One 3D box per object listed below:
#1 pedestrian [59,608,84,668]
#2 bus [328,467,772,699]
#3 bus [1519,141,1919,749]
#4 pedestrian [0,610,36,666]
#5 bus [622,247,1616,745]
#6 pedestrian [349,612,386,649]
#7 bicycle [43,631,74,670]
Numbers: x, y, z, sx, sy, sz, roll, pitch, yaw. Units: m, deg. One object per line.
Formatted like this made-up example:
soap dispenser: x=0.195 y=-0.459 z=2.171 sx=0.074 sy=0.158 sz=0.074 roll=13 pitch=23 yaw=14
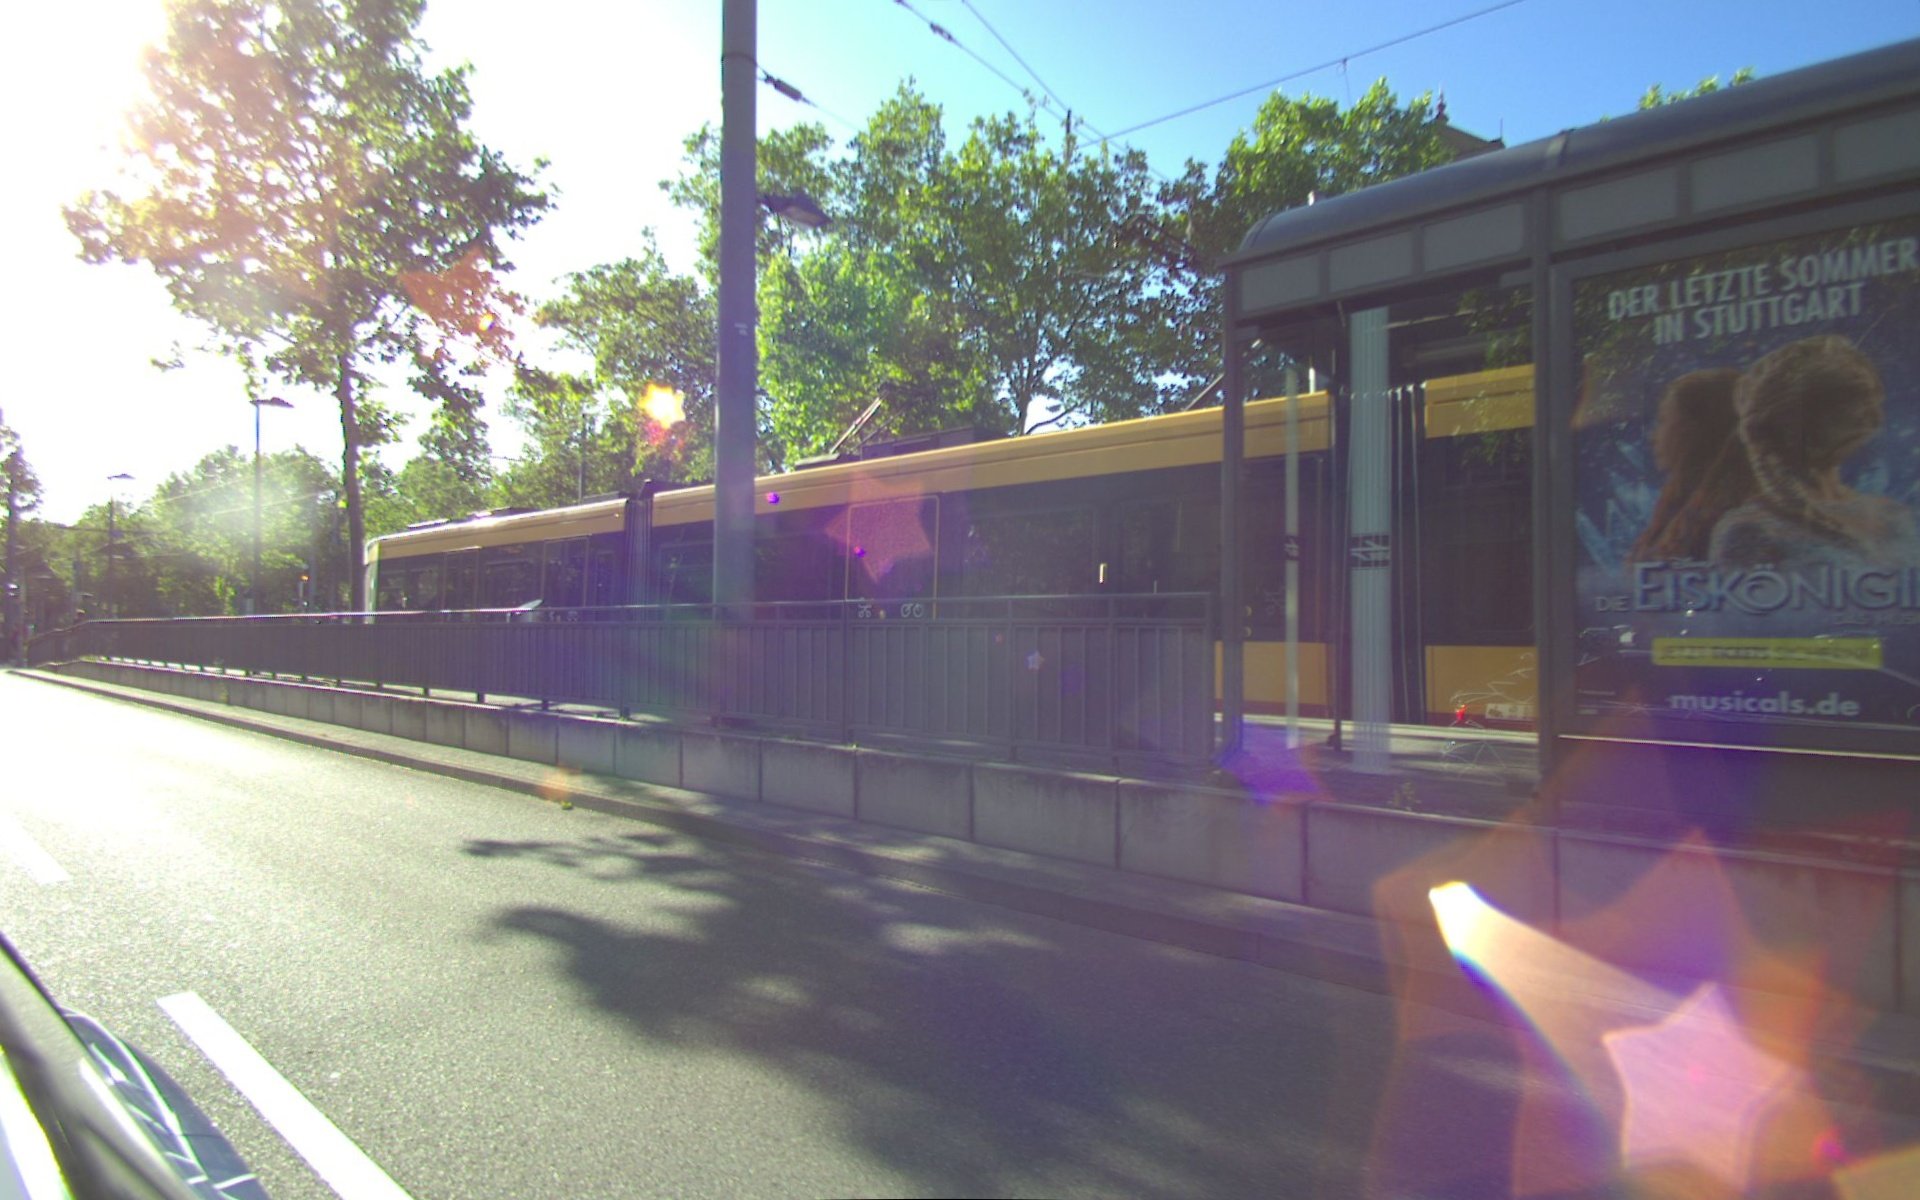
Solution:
pedestrian: x=-28.954 y=1.231 z=32.976 sx=0.583 sy=1.917 sz=0.447 roll=-1 pitch=-2 yaw=34
bus: x=-9.062 y=-0.059 z=20.581 sx=13.211 sy=3.470 sz=2.839 roll=-2 pitch=-2 yaw=42
bus: x=9.231 y=-0.975 z=4.322 sx=11.606 sy=3.470 sz=2.839 roll=-2 pitch=-2 yaw=42
pedestrian: x=-32.978 y=1.315 z=35.208 sx=1.126 sy=1.931 sz=1.061 roll=-2 pitch=-2 yaw=39
bus: x=0.410 y=-0.549 z=12.168 sx=12.210 sy=3.470 sz=2.839 roll=-2 pitch=-2 yaw=42
pedestrian: x=-27.336 y=1.398 z=46.698 sx=0.890 sy=1.656 sz=1.167 roll=-1 pitch=-2 yaw=34
bicycle: x=-28.929 y=1.615 z=32.482 sx=1.825 sy=1.223 sz=0.325 roll=-1 pitch=-2 yaw=36
